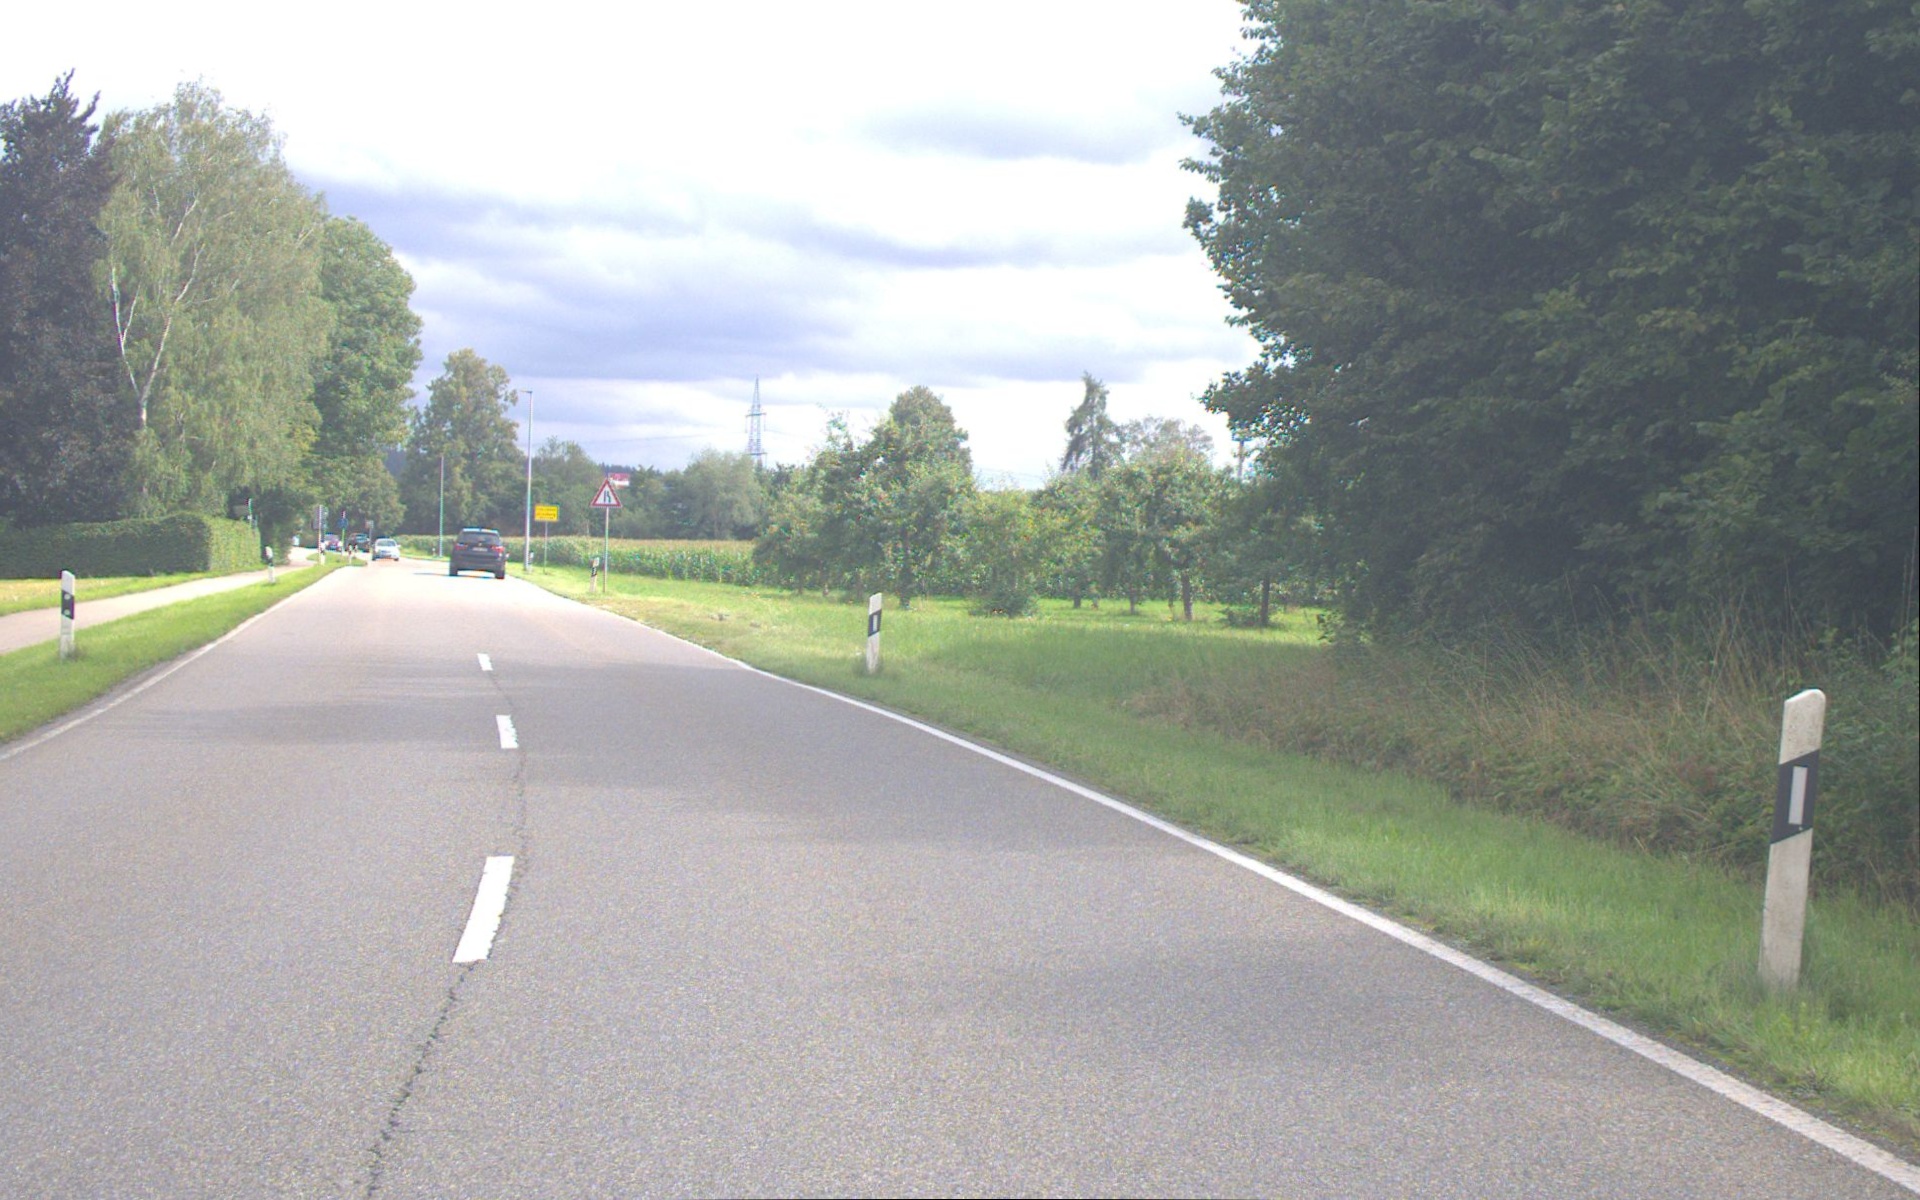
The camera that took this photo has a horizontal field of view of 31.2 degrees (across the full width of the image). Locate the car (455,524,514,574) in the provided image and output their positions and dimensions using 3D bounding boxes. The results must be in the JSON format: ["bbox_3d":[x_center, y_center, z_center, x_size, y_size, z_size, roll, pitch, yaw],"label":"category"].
[{"bbox_3d":[-16.456,-1.772,118.838,1.906,1.661,4.001,1,1,-9],"label":"car"}]
